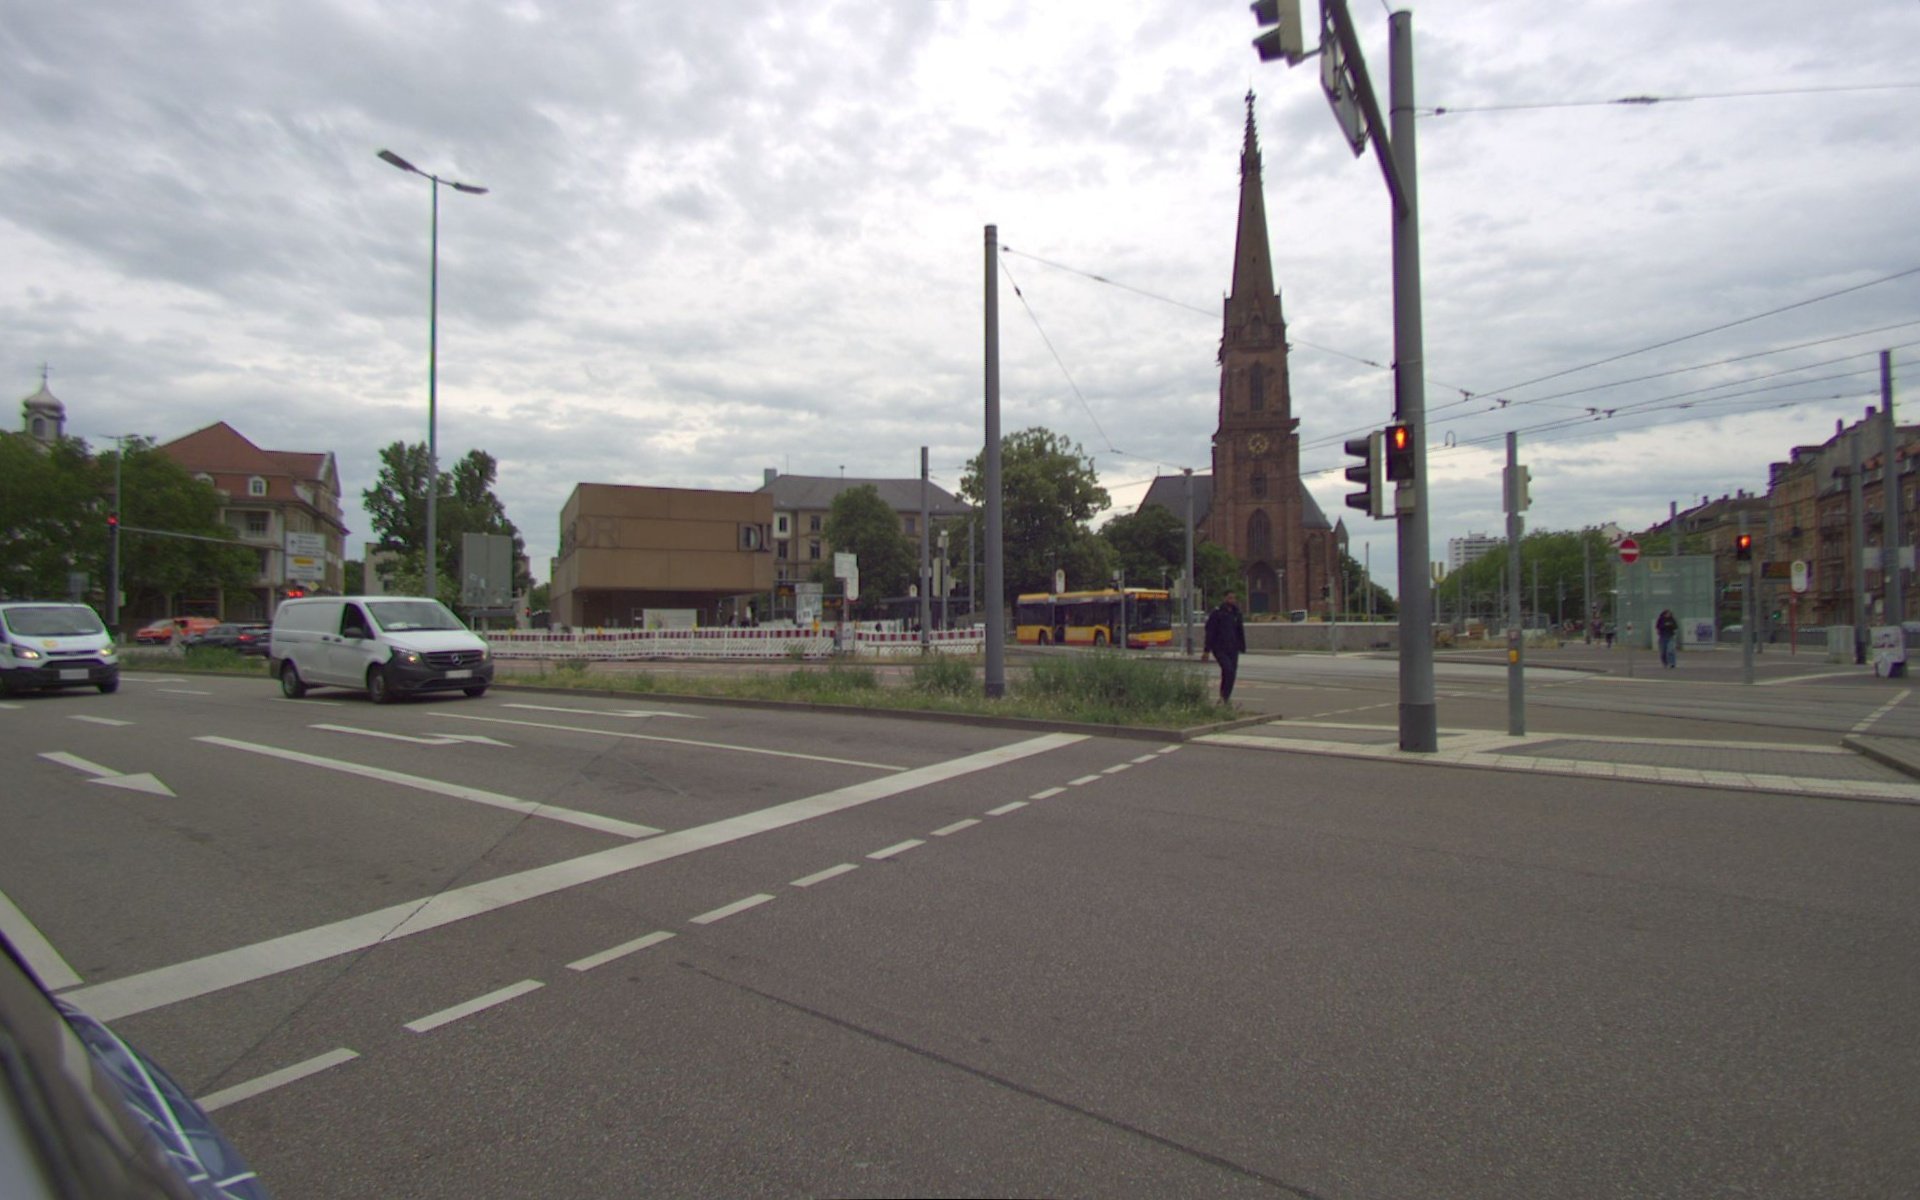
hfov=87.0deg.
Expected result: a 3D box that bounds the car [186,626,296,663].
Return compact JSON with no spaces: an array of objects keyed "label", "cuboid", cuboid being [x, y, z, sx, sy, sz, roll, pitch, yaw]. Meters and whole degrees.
[{"label":"car","cuboid":[-28.617,1.739,40.278,3.980,1.409,1.981,-1,-2,27]}]

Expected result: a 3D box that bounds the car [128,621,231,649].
[{"label":"car","cuboid":[-50.571,2.267,65.697,1.895,1.730,5.217,-1,-2,15]}]

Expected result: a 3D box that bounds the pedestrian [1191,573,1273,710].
[{"label":"pedestrian","cuboid":[4.035,0.605,15.078,0.768,1.958,0.984,0,-2,-14]}]

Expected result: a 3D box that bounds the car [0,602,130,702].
[{"label":"car","cuboid":[-20.023,1.083,21.761,4.507,1.957,1.979,-2,-2,31]}]

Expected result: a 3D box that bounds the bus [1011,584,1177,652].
[{"label":"bus","cuboid":[6.559,0.911,52.643,2.815,3.100,12.060,-1,-1,-23]}]

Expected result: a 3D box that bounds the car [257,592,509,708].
[{"label":"car","cuboid":[-10.765,0.859,18.756,5.072,1.896,1.903,-1,0,32]}]

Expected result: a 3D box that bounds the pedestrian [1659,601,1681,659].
[{"label":"pedestrian","cuboid":[20.045,0.849,28.569,0.479,1.623,0.421,-2,-2,36]}]
